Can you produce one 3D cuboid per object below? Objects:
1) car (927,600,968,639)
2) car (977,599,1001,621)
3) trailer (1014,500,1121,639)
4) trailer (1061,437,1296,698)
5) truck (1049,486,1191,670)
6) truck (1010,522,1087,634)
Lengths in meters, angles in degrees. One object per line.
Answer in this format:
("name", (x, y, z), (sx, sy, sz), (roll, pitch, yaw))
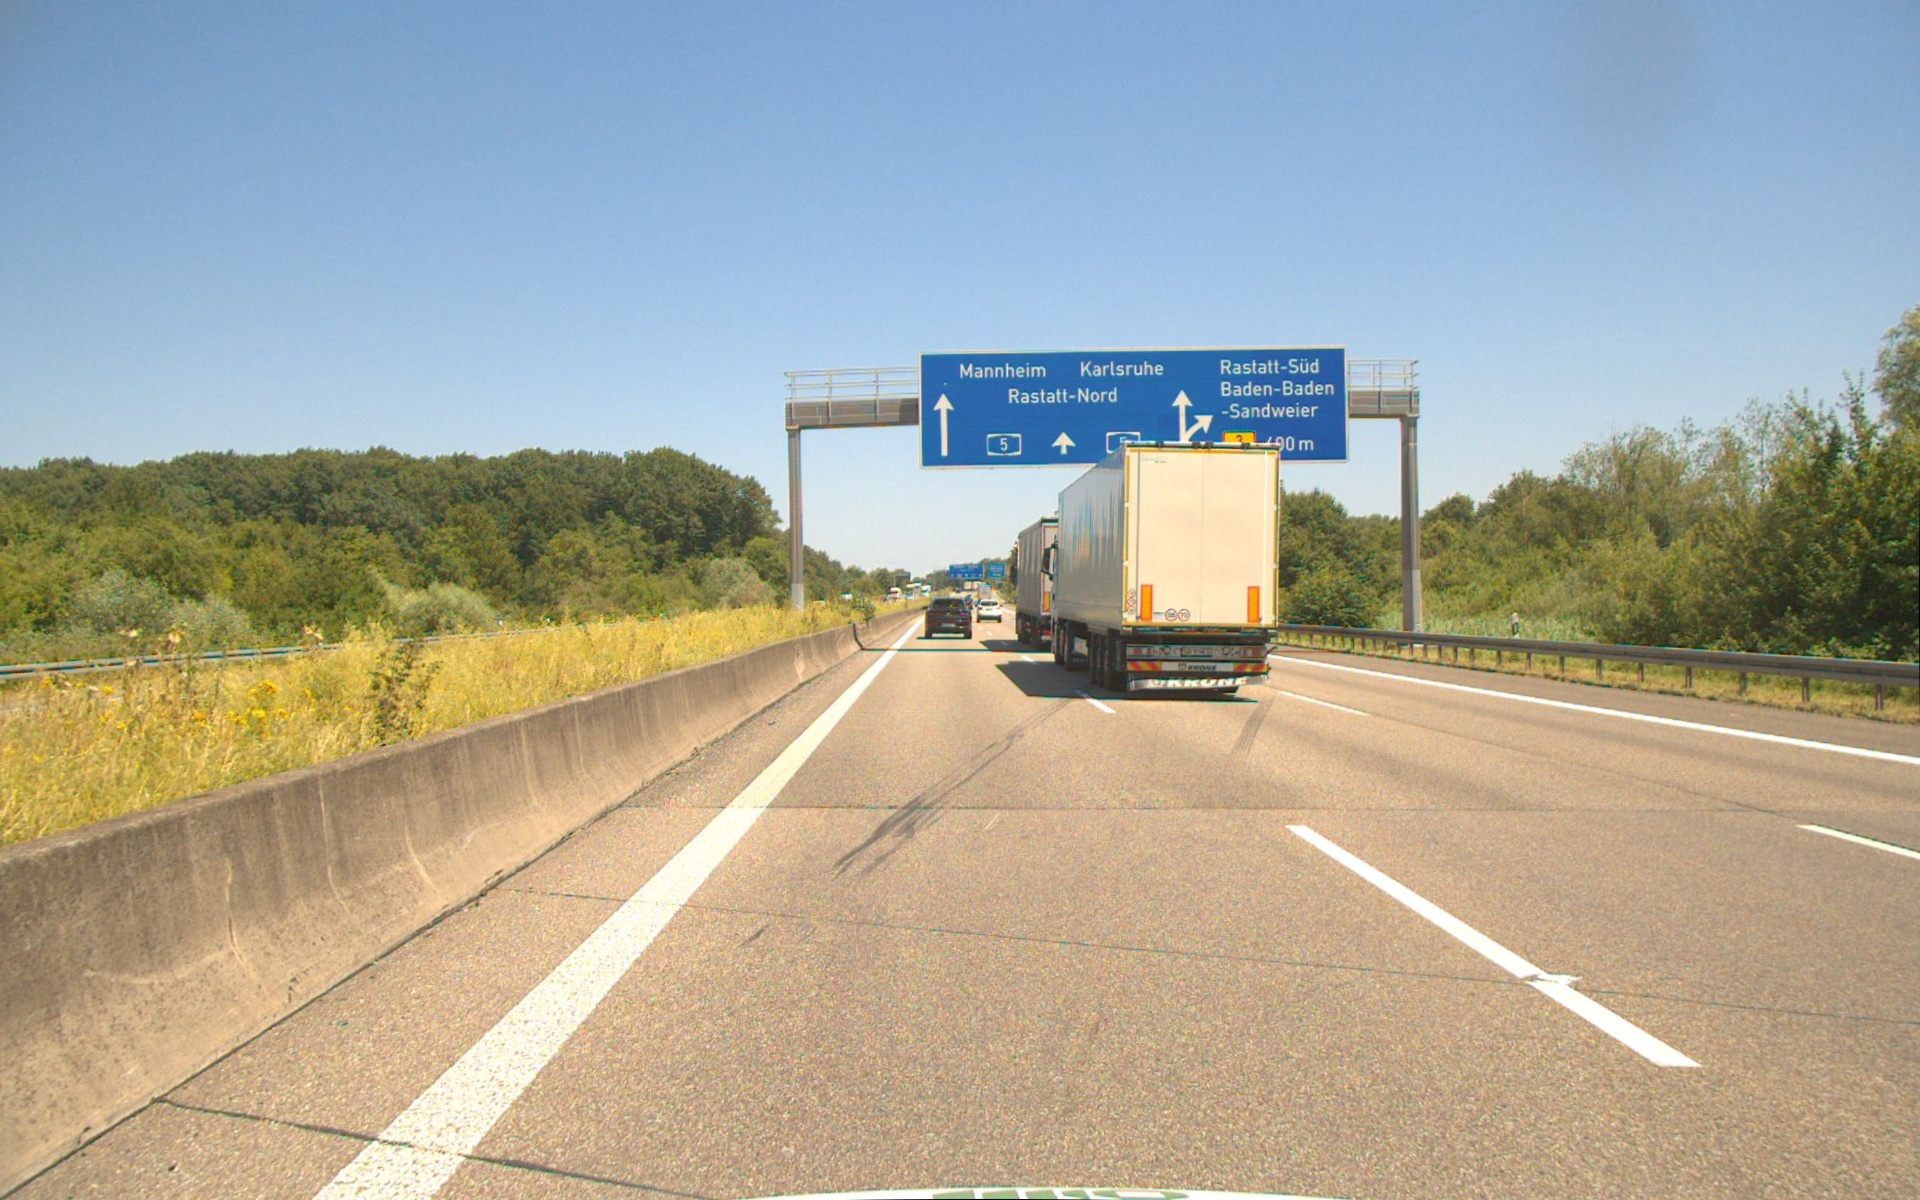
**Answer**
("car", (-0.539, 0.821, 69.217), (1.626, 1.576, 3.782), (0, -1, -2))
("car", (2.088, 0.721, 121.151), (1.704, 1.512, 4.000), (0, 0, 0))
("trailer", (3.454, -0.848, 56.836), (2.652, 4.139, 14.743), (0, -1, 0))
("trailer", (3.832, -0.512, 32.360), (2.738, 4.106, 12.564), (0, 0, -1))
("truck", (3.713, -0.491, 39.817), (2.743, 4.077, 6.019), (0, 0, -1))
("truck", (3.411, -0.802, 65.201), (2.645, 4.166, 6.452), (0, -1, 0))
